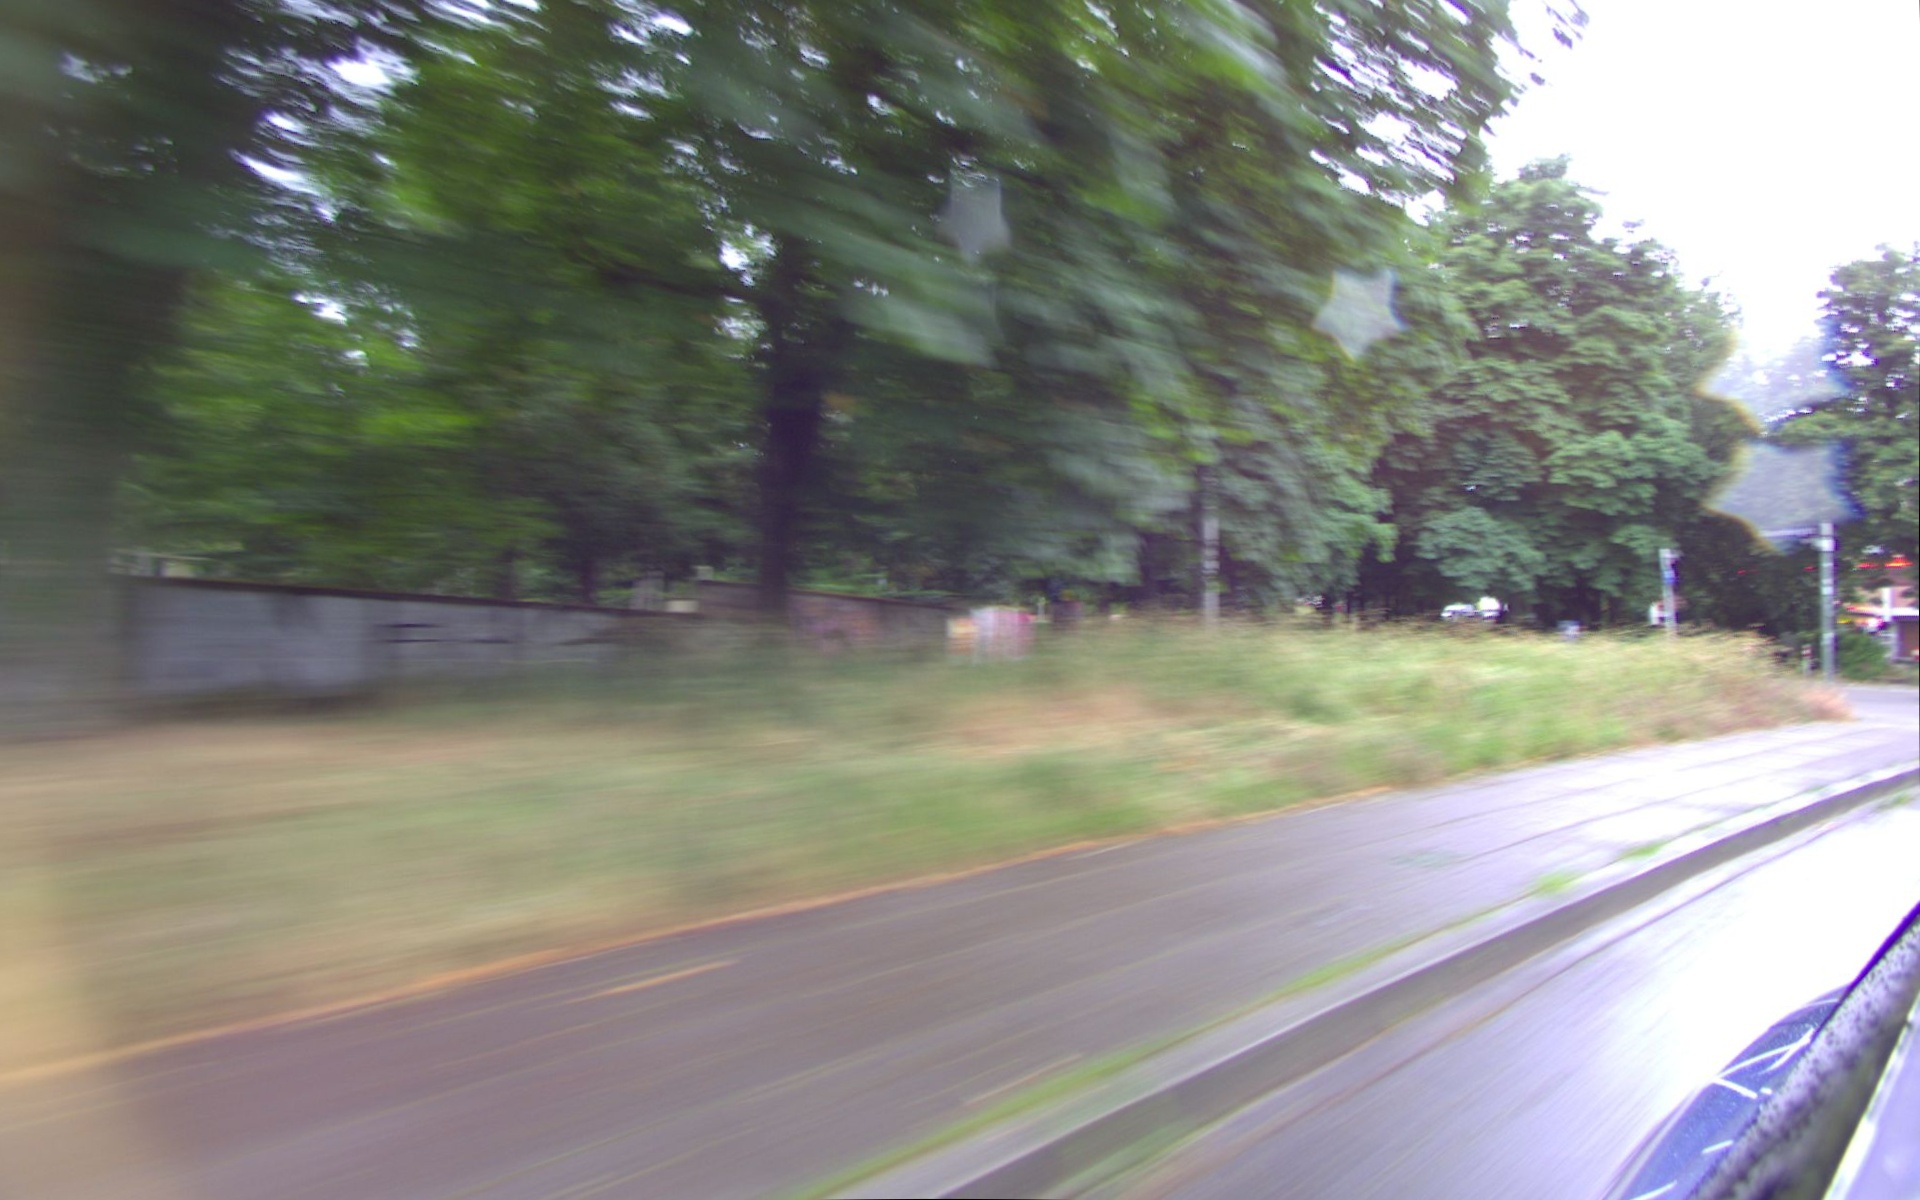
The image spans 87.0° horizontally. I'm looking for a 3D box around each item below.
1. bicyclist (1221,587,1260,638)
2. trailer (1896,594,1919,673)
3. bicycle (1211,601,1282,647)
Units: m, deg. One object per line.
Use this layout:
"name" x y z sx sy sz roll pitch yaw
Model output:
"bicyclist" 7.553 0.326 27.283 0.797 1.311 0.585 1 -4 41
"trailer" 42.141 1.439 40.188 2.771 3.439 9.794 1 0 13
"bicycle" 7.615 0.626 26.942 1.705 1.155 0.616 1 -1 42
